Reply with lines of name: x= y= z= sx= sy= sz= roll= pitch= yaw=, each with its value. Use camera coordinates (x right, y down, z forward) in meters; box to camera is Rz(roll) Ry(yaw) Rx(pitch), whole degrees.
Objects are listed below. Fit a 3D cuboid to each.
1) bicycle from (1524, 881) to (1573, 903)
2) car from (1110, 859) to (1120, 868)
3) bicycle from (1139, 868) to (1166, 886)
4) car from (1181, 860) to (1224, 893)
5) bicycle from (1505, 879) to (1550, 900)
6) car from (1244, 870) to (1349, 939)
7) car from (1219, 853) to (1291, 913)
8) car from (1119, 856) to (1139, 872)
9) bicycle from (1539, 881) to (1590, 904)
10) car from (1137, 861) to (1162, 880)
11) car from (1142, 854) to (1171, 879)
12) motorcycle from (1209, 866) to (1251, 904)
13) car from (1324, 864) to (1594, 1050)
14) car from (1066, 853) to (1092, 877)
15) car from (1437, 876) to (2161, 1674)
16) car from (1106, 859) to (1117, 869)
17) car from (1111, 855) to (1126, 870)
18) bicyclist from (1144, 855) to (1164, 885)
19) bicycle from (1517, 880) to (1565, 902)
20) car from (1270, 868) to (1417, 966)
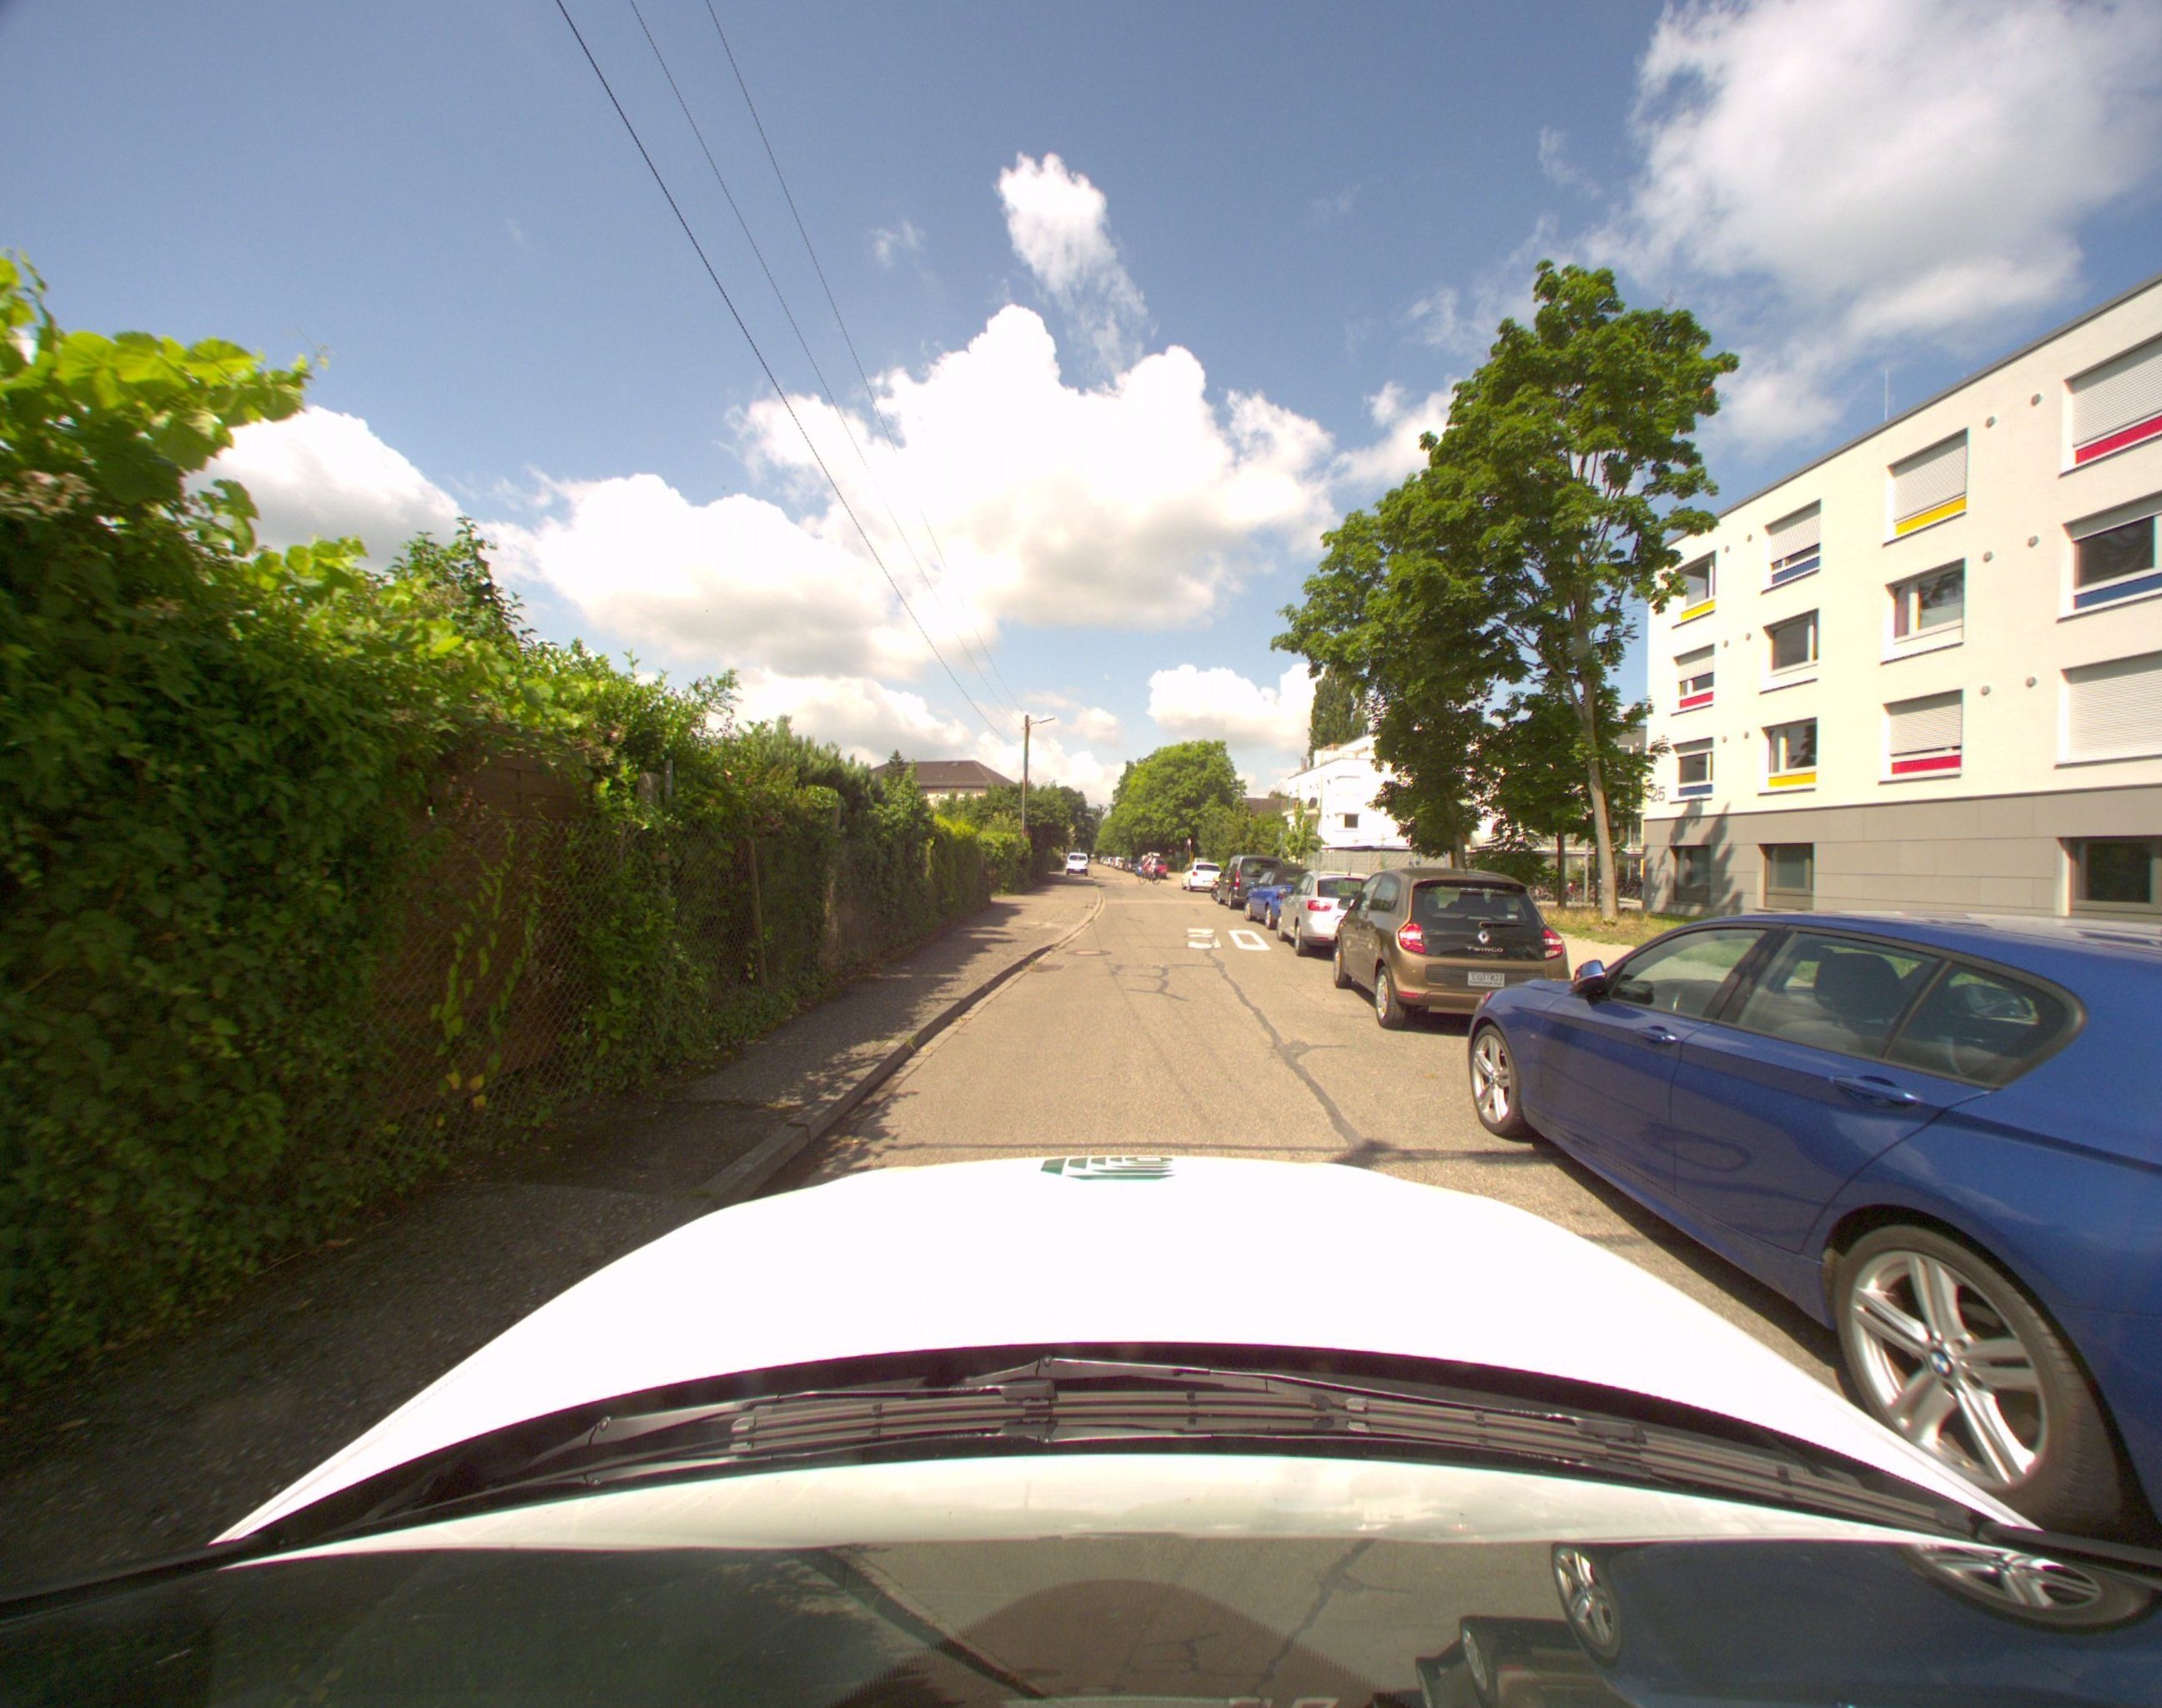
bicycle: x=23.433 y=1.887 z=40.822 sx=2.038 sy=1.079 sz=0.688 roll=0 pitch=-1 yaw=3
car: x=6.739 y=1.934 z=160.346 sx=1.843 sy=1.618 sz=4.005 roll=2 pitch=-1 yaw=5
bicycle: x=4.284 y=1.366 z=48.620 sx=0.850 sy=1.026 sz=1.831 roll=2 pitch=-1 yaw=33
car: x=5.960 y=1.082 z=40.436 sx=1.672 sy=1.519 sz=4.002 roll=2 pitch=-1 yaw=3
bicycle: x=23.860 y=1.901 z=43.530 sx=2.038 sy=1.079 sz=0.688 roll=0 pitch=-1 yaw=3
car: x=5.120 y=1.146 z=19.816 sx=1.657 sy=1.435 sz=3.542 roll=2 pitch=-1 yaw=1
car: x=5.708 y=0.917 z=27.020 sx=1.865 sy=1.806 sz=3.436 roll=2 pitch=-1 yaw=5
car: x=5.316 y=1.122 z=90.415 sx=2.050 sy=1.652 sz=4.544 roll=2 pitch=-1 yaw=3
bicycle: x=23.374 y=1.880 z=39.414 sx=2.038 sy=1.079 sz=0.688 roll=0 pitch=-1 yaw=3
car: x=6.129 y=1.467 z=73.455 sx=2.050 sy=1.652 sz=4.544 roll=2 pitch=-1 yaw=3
car: x=6.093 y=0.994 z=65.859 sx=2.050 sy=1.926 sz=4.544 roll=2 pitch=-1 yaw=3
motorcycle: x=5.636 y=1.151 z=30.827 sx=1.422 sy=1.362 sz=0.869 roll=2 pitch=-1 yaw=1
car: x=3.870 y=0.927 z=9.013 sx=1.654 sy=1.552 sz=3.644 roll=2 pitch=-1 yaw=7
car: x=-0.130 y=0.903 z=66.026 sx=1.895 sy=1.814 sz=4.002 roll=2 pitch=-1 yaw=3
car: x=3.029 y=0.869 z=3.253 sx=1.655 sy=1.440 sz=4.212 roll=2 pitch=-1 yaw=5
car: x=5.463 y=1.769 z=145.388 sx=1.843 sy=1.618 sz=4.005 roll=1 pitch=-1 yaw=5
car: x=5.321 y=1.235 z=115.829 sx=2.050 sy=1.962 sz=4.544 roll=2 pitch=-1 yaw=3
bicyclist: x=4.372 y=0.965 z=48.685 sx=0.777 sy=1.785 sz=0.900 roll=2 pitch=-1 yaw=32
bicycle: x=23.473 y=1.901 z=41.597 sx=2.038 sy=1.079 sz=0.688 roll=0 pitch=-1 yaw=3
car: x=4.508 y=1.003 z=14.511 sx=1.655 sy=1.439 sz=3.749 roll=2 pitch=-1 yaw=5
